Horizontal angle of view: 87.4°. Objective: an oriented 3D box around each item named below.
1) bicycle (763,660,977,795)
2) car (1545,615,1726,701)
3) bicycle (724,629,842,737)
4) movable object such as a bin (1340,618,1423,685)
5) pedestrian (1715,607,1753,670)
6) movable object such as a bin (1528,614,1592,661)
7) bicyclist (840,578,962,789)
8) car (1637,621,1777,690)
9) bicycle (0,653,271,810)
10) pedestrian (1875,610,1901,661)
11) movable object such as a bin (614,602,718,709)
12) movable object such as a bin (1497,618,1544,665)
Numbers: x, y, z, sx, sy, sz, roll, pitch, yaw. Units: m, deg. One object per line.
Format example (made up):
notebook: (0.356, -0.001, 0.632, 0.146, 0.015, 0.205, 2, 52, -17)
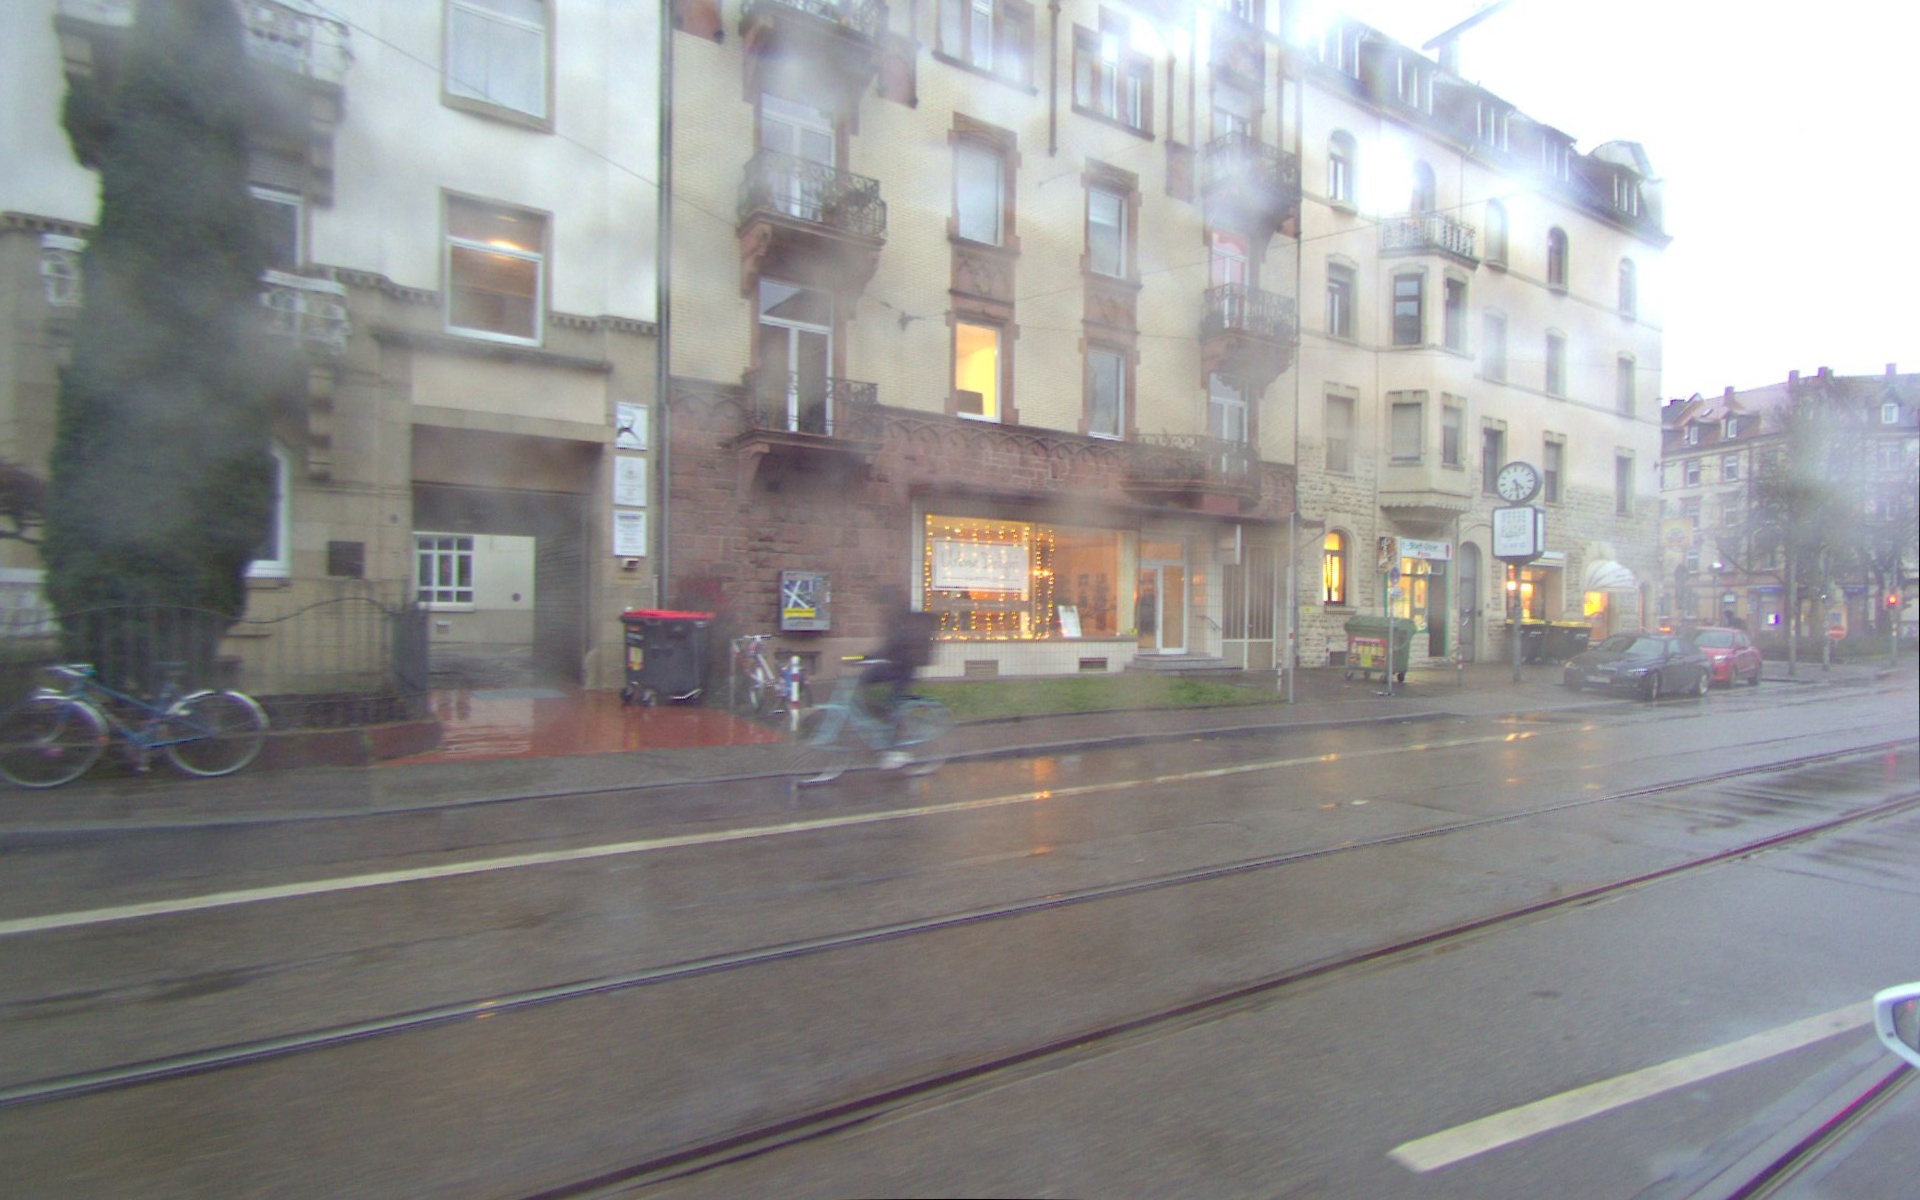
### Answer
bicycle: (-0.820, 1.143, 9.436, 1.925, 1.107, 0.620, 1, -1, -31)
car: (15.988, 1.327, 23.707, 4.586, 1.667, 1.972, 2, 4, -36)
bicycle: (-2.317, 1.004, 12.852, 0.687, 1.120, 2.336, 1, 2, -31)
movable object such as a bin: (9.538, 1.140, 22.763, 1.236, 1.439, 1.260, 1, 0, -32)
pedestrian: (25.445, 1.251, 33.035, 0.635, 2.040, 0.758, 1, 0, 4)
movable object such as a bin: (18.474, 1.136, 30.953, 1.239, 1.385, 1.286, 1, 0, -33)
bicyclist: (-0.568, 0.761, 9.592, 0.980, 1.901, 0.620, 1, 0, -31)
car: (20.498, 1.453, 27.534, 3.995, 1.573, 2.022, 0, 3, -38)
bicycle: (-6.555, 1.004, 8.053, 1.643, 1.107, 0.620, 1, -1, -31)
pedestrian: (37.895, 1.454, 41.027, 0.696, 2.040, 0.658, 0, 0, 38)
movable object such as a bin: (-4.197, 0.757, 14.289, 1.154, 1.398, 1.096, 1, 2, -31)
movable object such as a bin: (17.142, 1.262, 30.728, 0.995, 1.396, 0.894, 1, 0, -33)
